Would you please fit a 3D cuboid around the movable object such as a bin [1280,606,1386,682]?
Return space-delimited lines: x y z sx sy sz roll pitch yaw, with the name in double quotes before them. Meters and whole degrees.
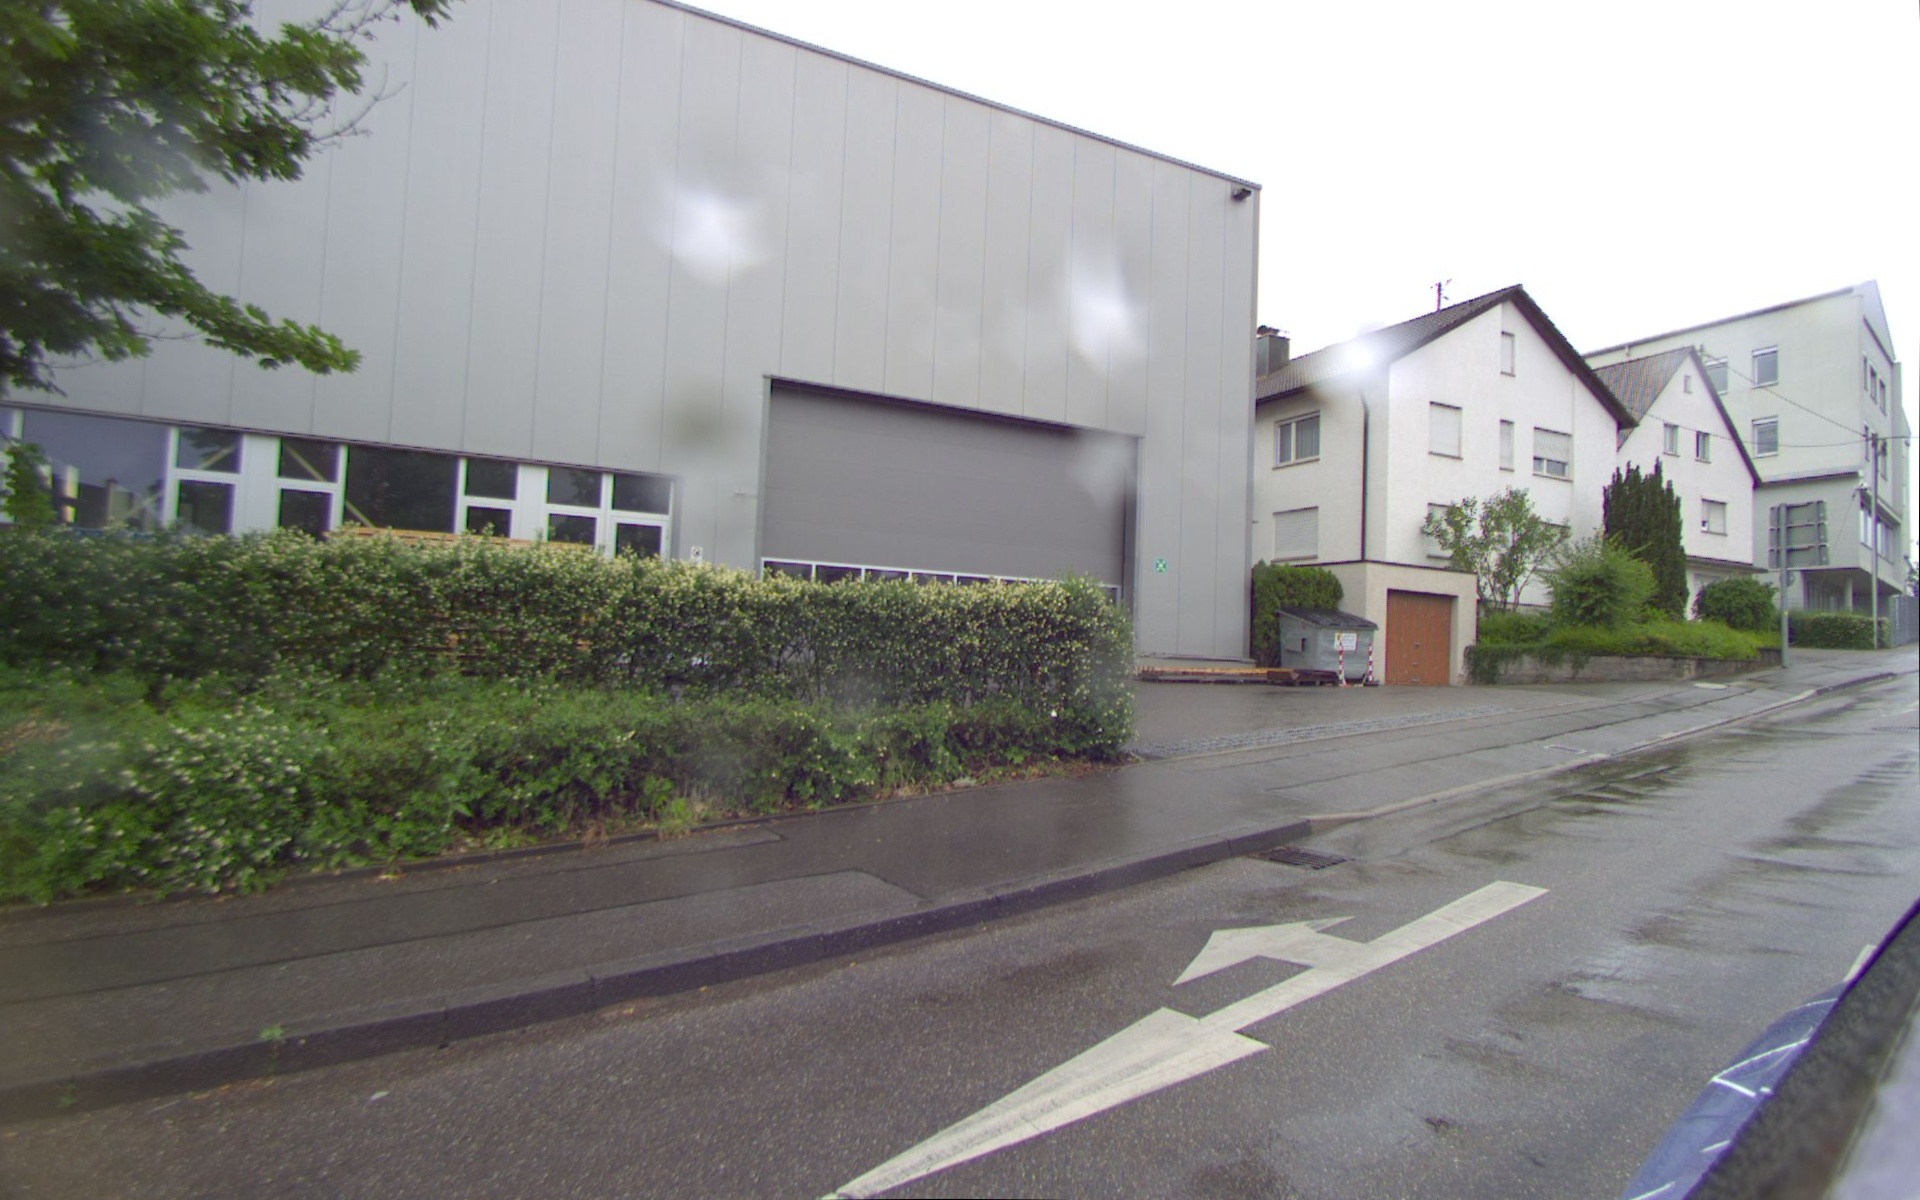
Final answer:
"movable object such as a bin" 7.986 0.921 21.686 1.742 1.537 1.268 1 0 -25
